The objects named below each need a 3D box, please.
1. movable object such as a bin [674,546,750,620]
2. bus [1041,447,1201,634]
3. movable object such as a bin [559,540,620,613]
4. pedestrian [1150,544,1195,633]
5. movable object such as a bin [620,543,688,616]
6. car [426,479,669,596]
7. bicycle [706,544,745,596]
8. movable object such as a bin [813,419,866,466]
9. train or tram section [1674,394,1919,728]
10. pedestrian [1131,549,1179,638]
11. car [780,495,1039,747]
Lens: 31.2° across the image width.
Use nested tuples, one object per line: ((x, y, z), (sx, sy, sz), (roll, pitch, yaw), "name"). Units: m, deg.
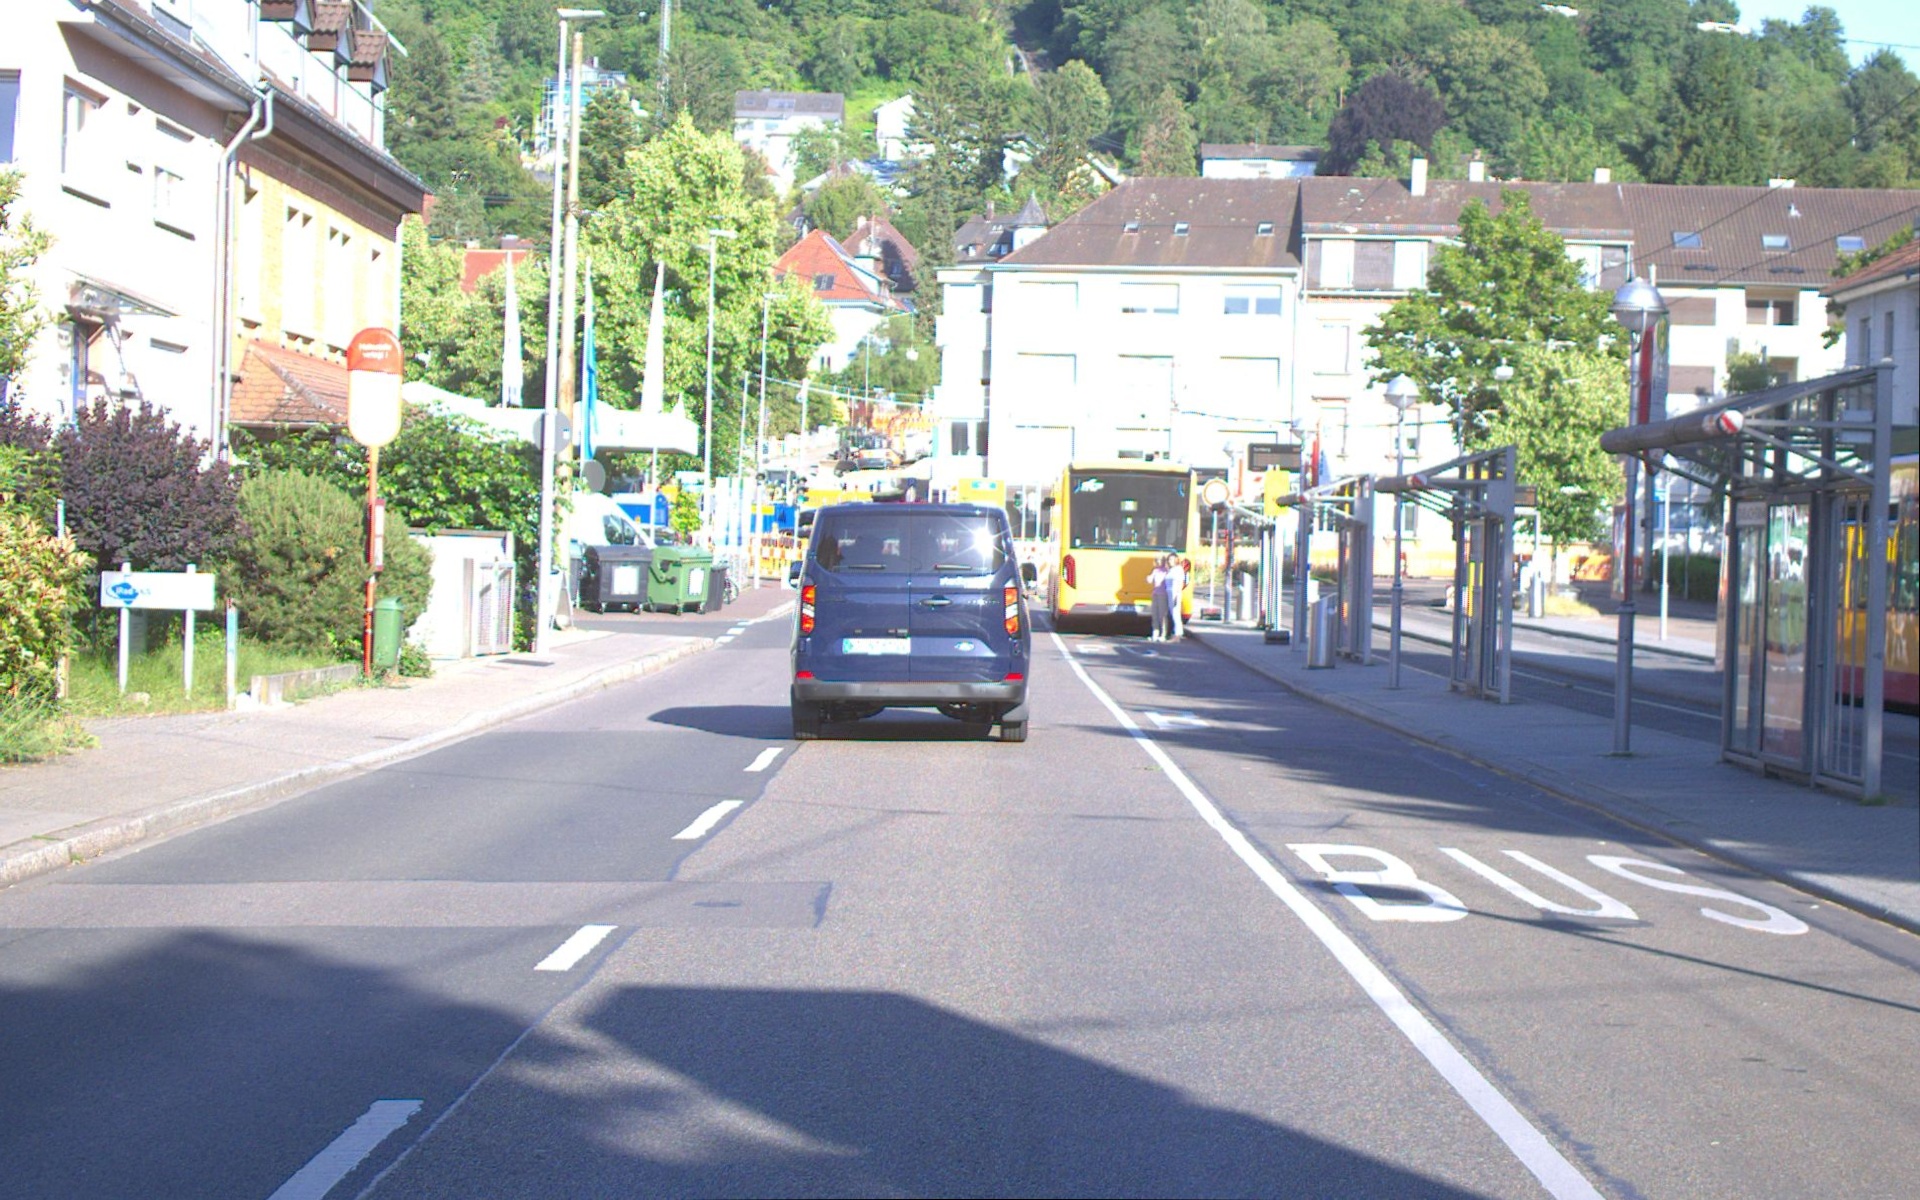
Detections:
((-5.350, -0.374, 74.091), (1.056, 1.477, 1.310), (4, 5, 29), "movable object such as a bin")
((3.134, -1.271, 69.835), (2.688, 3.404, 12.019), (2, 2, 0), "bus")
((-7.841, -0.494, 72.813), (1.218, 1.477, 0.704), (1, 4, -4), "movable object such as a bin")
((3.853, -0.211, 62.361), (0.544, 1.607, 0.549), (1, 1, -37), "pedestrian")
((-6.511, -0.444, 73.150), (1.218, 1.477, 0.704), (-1, 5, -28), "movable object such as a bin")
((-9.404, -1.417, 78.357), (5.054, 2.461, 2.109), (2, 1, -21), "car")
((-5.502, -0.710, 80.643), (0.723, 1.174, 1.781), (1, 1, -9), "bicycle")
((-7.205, -9.458, 206.211), (2.192, 2.681, 3.998), (2, 2, 12), "movable object such as a bin")
((11.607, -0.412, 40.840), (2.957, 3.522, 15.970), (1, 0, 0), "train or tram section")
((3.561, -0.125, 62.755), (0.544, 1.607, 0.636), (1, 1, -37), "pedestrian")
((-0.389, 0.132, 29.987), (2.062, 2.007, 5.000), (0, 1, 0), "car")
